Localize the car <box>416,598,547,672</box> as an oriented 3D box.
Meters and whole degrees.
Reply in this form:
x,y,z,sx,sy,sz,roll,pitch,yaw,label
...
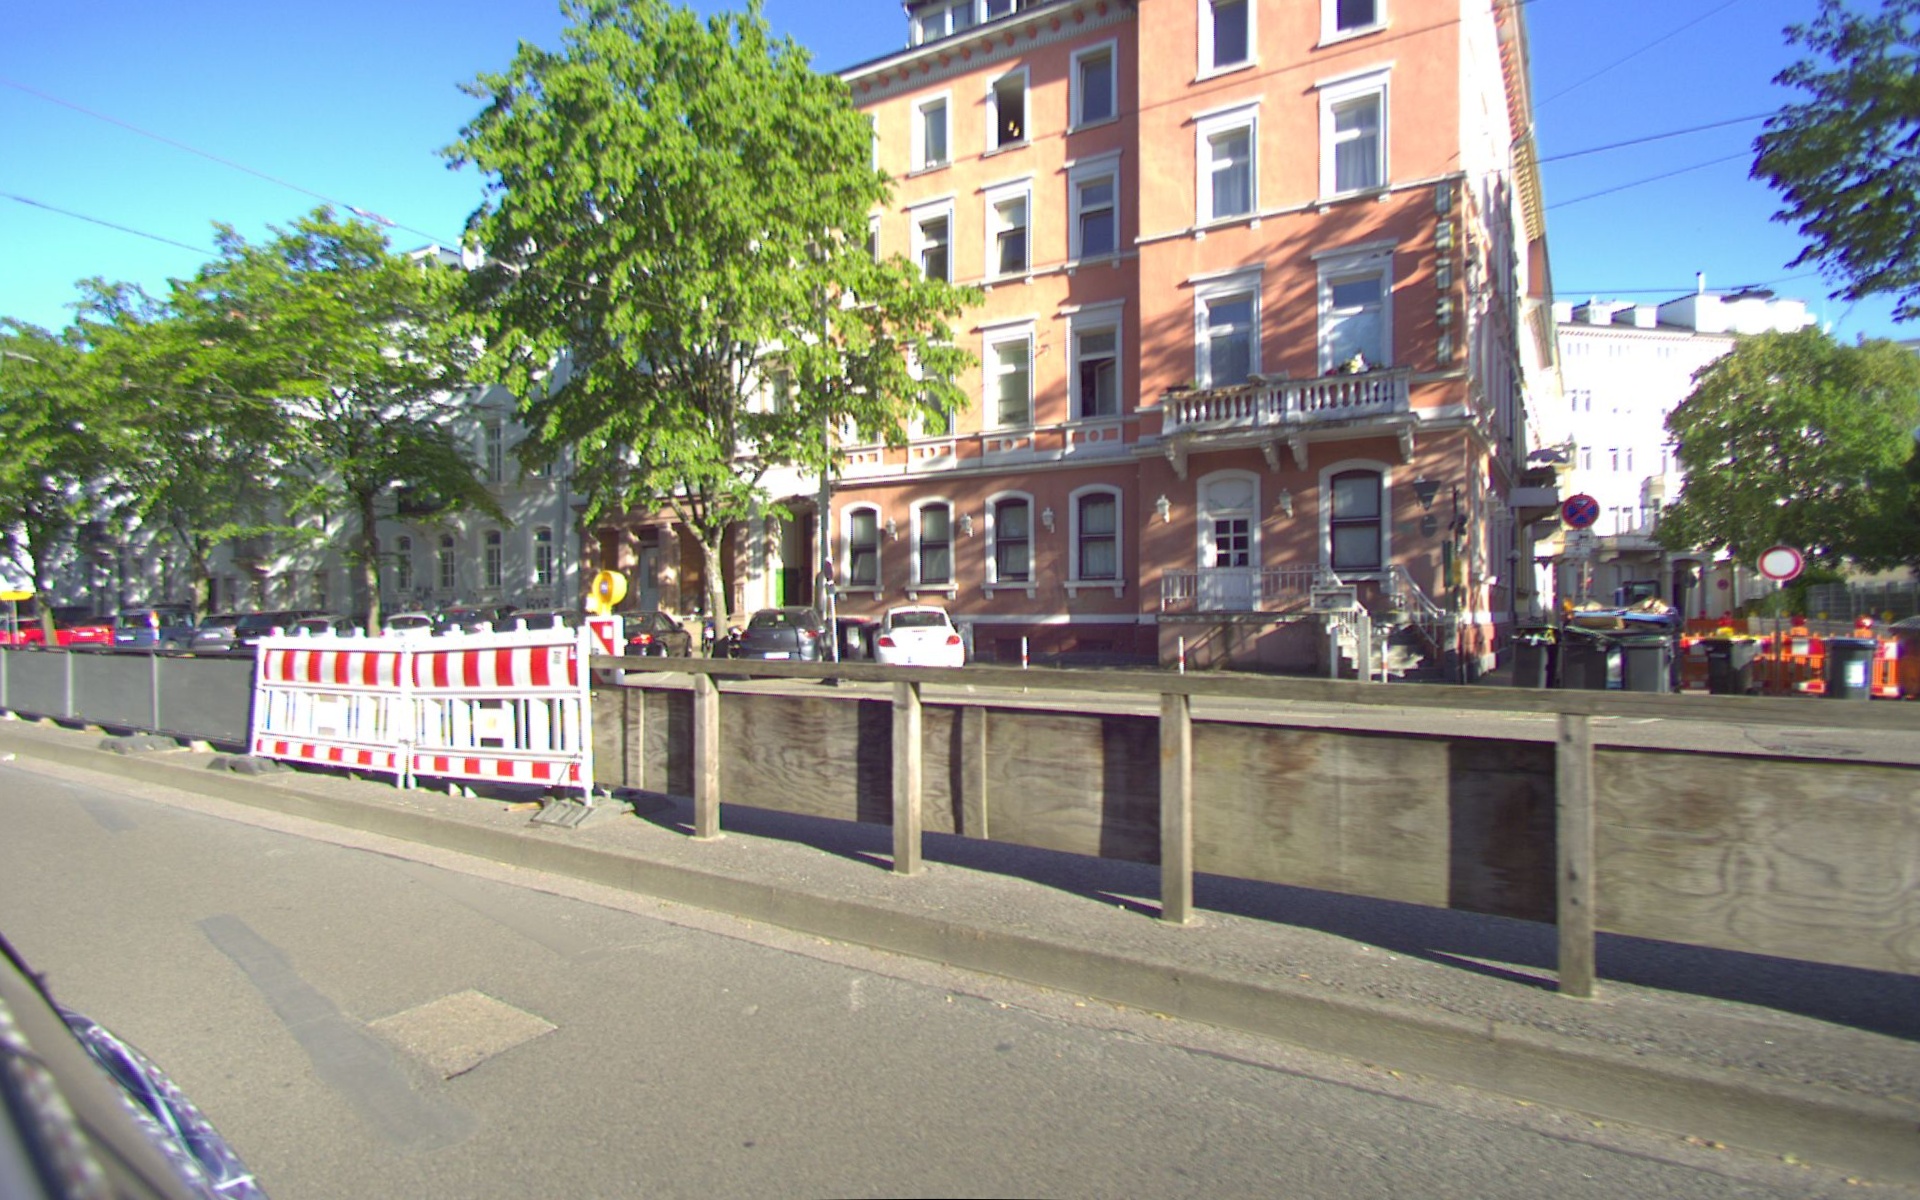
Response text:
x,y,z,sx,sy,sz,roll,pitch,yaw,label
-13.222,0.904,28.282,1.683,1.735,4.288,-1,2,-1,car

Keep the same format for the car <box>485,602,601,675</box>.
x,y,z,sx,sy,sz,roll,pitch,yaw,label
-10.675,0.920,26.203,1.610,1.629,3.991,-2,1,-5,car

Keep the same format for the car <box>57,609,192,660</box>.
x,y,z,sx,sy,sz,roll,pitch,yaw,label
-32.636,1.306,39.706,1.719,1.649,4.200,-3,1,1,car

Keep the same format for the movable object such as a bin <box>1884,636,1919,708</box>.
x,y,z,sx,sy,sz,roll,pitch,yaw,label
14.282,1.079,15.196,0.551,1.041,0.443,0,0,36,movable object such as a bin

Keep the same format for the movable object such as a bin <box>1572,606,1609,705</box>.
x,y,z,sx,sy,sz,roll,pitch,yaw,label
9.370,0.811,15.031,0.387,1.437,0.375,-1,-1,42,movable object such as a bin

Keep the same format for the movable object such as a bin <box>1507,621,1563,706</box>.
x,y,z,sx,sy,sz,roll,pitch,yaw,label
8.485,0.923,14.930,0.639,1.212,0.375,-1,-1,43,movable object such as a bin

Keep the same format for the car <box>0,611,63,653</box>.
x,y,z,sx,sy,sz,roll,pitch,yaw,label
-43.565,1.482,46.114,1.759,1.737,4.203,-1,1,-2,car

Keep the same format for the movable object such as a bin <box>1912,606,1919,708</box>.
x,y,z,sx,sy,sz,roll,pitch,yaw,label
14.279,0.819,14.299,1.145,1.469,0.421,0,0,37,movable object such as a bin

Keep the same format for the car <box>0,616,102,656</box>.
x,y,z,sx,sy,sz,roll,pitch,yaw,label
-40.802,1.560,45.010,1.618,1.569,4.199,-1,1,1,car

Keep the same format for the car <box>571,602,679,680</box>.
x,y,z,sx,sy,sz,roll,pitch,yaw,label
-8.124,0.928,24.862,1.610,1.629,3.991,-2,1,-5,car

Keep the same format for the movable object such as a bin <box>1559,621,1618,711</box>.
x,y,z,sx,sy,sz,roll,pitch,yaw,label
9.016,0.927,14.517,0.639,1.251,0.375,-1,-1,43,movable object such as a bin

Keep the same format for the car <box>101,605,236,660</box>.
x,y,z,sx,sy,sz,roll,pitch,yaw,label
-29.936,1.190,38.454,1.761,1.811,4.200,-1,1,1,car

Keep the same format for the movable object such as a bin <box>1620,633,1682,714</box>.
x,y,z,sx,sy,sz,roll,pitch,yaw,label
9.524,0.993,13.949,0.639,1.076,0.375,-1,-1,43,movable object such as a bin

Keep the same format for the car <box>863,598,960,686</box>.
x,y,z,sx,sy,sz,roll,pitch,yaw,label
-1.111,0.787,21.303,1.708,1.533,3.923,-2,2,-7,car

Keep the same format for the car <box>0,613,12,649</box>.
x,y,z,sx,sy,sz,roll,pitch,yaw,label
-48.466,1.590,48.381,1.925,1.727,4.351,-1,2,7,car

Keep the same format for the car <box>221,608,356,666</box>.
x,y,z,sx,sy,sz,roll,pitch,yaw,label
-21.691,1.139,32.903,1.749,1.666,3.869,-1,1,2,car

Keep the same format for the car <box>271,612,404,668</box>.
x,y,z,sx,sy,sz,roll,pitch,yaw,label
-19.350,1.208,31.662,1.747,1.496,3.821,-1,1,1,car

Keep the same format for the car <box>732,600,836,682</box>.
x,y,z,sx,sy,sz,roll,pitch,yaw,label
-3.845,0.837,22.683,1.665,1.519,3.923,-2,2,-1,car

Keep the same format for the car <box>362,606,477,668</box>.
x,y,z,sx,sy,sz,roll,pitch,yaw,label
-16.012,1.045,30.161,1.683,1.544,3.282,-2,2,-1,car

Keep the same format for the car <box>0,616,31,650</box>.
x,y,z,sx,sy,sz,roll,pitch,yaw,label
-46.023,1.614,47.372,1.723,1.531,3.769,-1,1,-3,car

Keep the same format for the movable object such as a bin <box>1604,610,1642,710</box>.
x,y,z,sx,sy,sz,roll,pitch,yaw,label
9.693,0.862,14.789,0.386,1.437,0.375,-1,-1,42,movable object such as a bin

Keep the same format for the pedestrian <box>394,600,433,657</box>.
x,y,z,sx,sy,sz,roll,pitch,yaw,label
-17.323,0.896,32.088,0.802,1.769,0.761,-1,-1,19,pedestrian

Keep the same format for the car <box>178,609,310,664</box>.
x,y,z,sx,sy,sz,roll,pitch,yaw,label
-24.382,1.186,34.632,1.749,1.666,3.869,-1,1,1,car

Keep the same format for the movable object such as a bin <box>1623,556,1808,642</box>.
x,y,z,sx,sy,sz,roll,pitch,yaw,label
28.480,-0.033,38.171,5.262,2.952,3.899,0,0,43,movable object such as a bin

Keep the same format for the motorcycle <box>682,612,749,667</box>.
x,y,z,sx,sy,sz,roll,pitch,yaw,label
-6.169,0.967,25.471,1.927,1.289,0.671,1,1,42,motorcycle

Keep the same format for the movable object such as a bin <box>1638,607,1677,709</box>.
x,y,z,sx,sy,sz,roll,pitch,yaw,label
10.048,0.825,14.578,0.387,1.437,0.375,-1,-1,42,movable object such as a bin

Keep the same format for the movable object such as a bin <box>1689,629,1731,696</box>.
x,y,z,sx,sy,sz,roll,pitch,yaw,label
12.706,1.045,17.157,0.551,1.107,0.376,-1,-1,36,movable object such as a bin

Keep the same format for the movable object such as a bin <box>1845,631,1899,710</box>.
x,y,z,sx,sy,sz,roll,pitch,yaw,label
13.382,1.024,14.859,0.552,1.105,0.376,0,0,37,movable object such as a bin

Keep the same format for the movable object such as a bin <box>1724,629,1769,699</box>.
x,y,z,sx,sy,sz,roll,pitch,yaw,label
12.817,1.036,16.496,0.551,1.105,0.376,-1,-1,36,movable object such as a bin
